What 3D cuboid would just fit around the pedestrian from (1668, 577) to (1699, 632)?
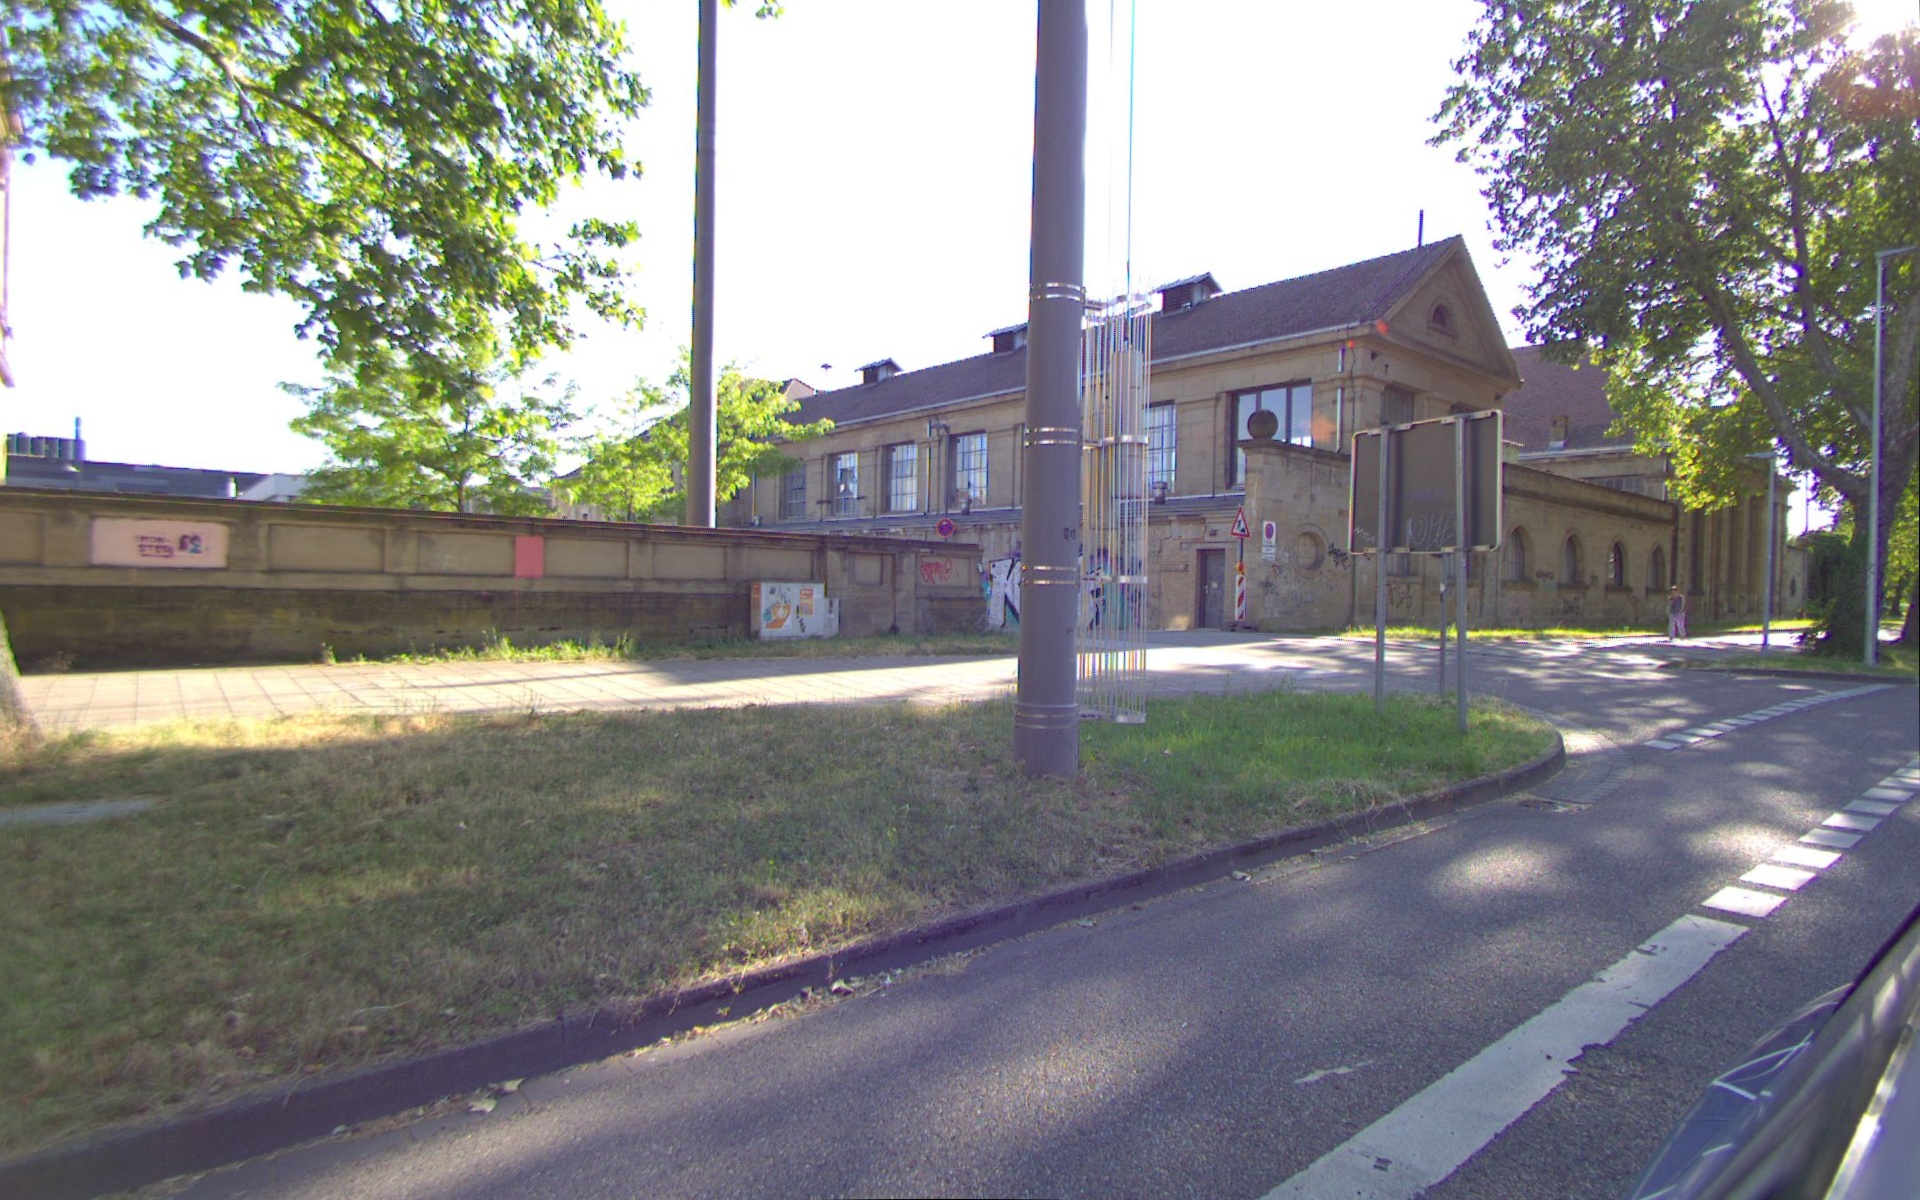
[{"bbox_3d":[22.975,0.129,32.125,0.670,1.682,0.861,3,2,41],"label":"pedestrian"}]
